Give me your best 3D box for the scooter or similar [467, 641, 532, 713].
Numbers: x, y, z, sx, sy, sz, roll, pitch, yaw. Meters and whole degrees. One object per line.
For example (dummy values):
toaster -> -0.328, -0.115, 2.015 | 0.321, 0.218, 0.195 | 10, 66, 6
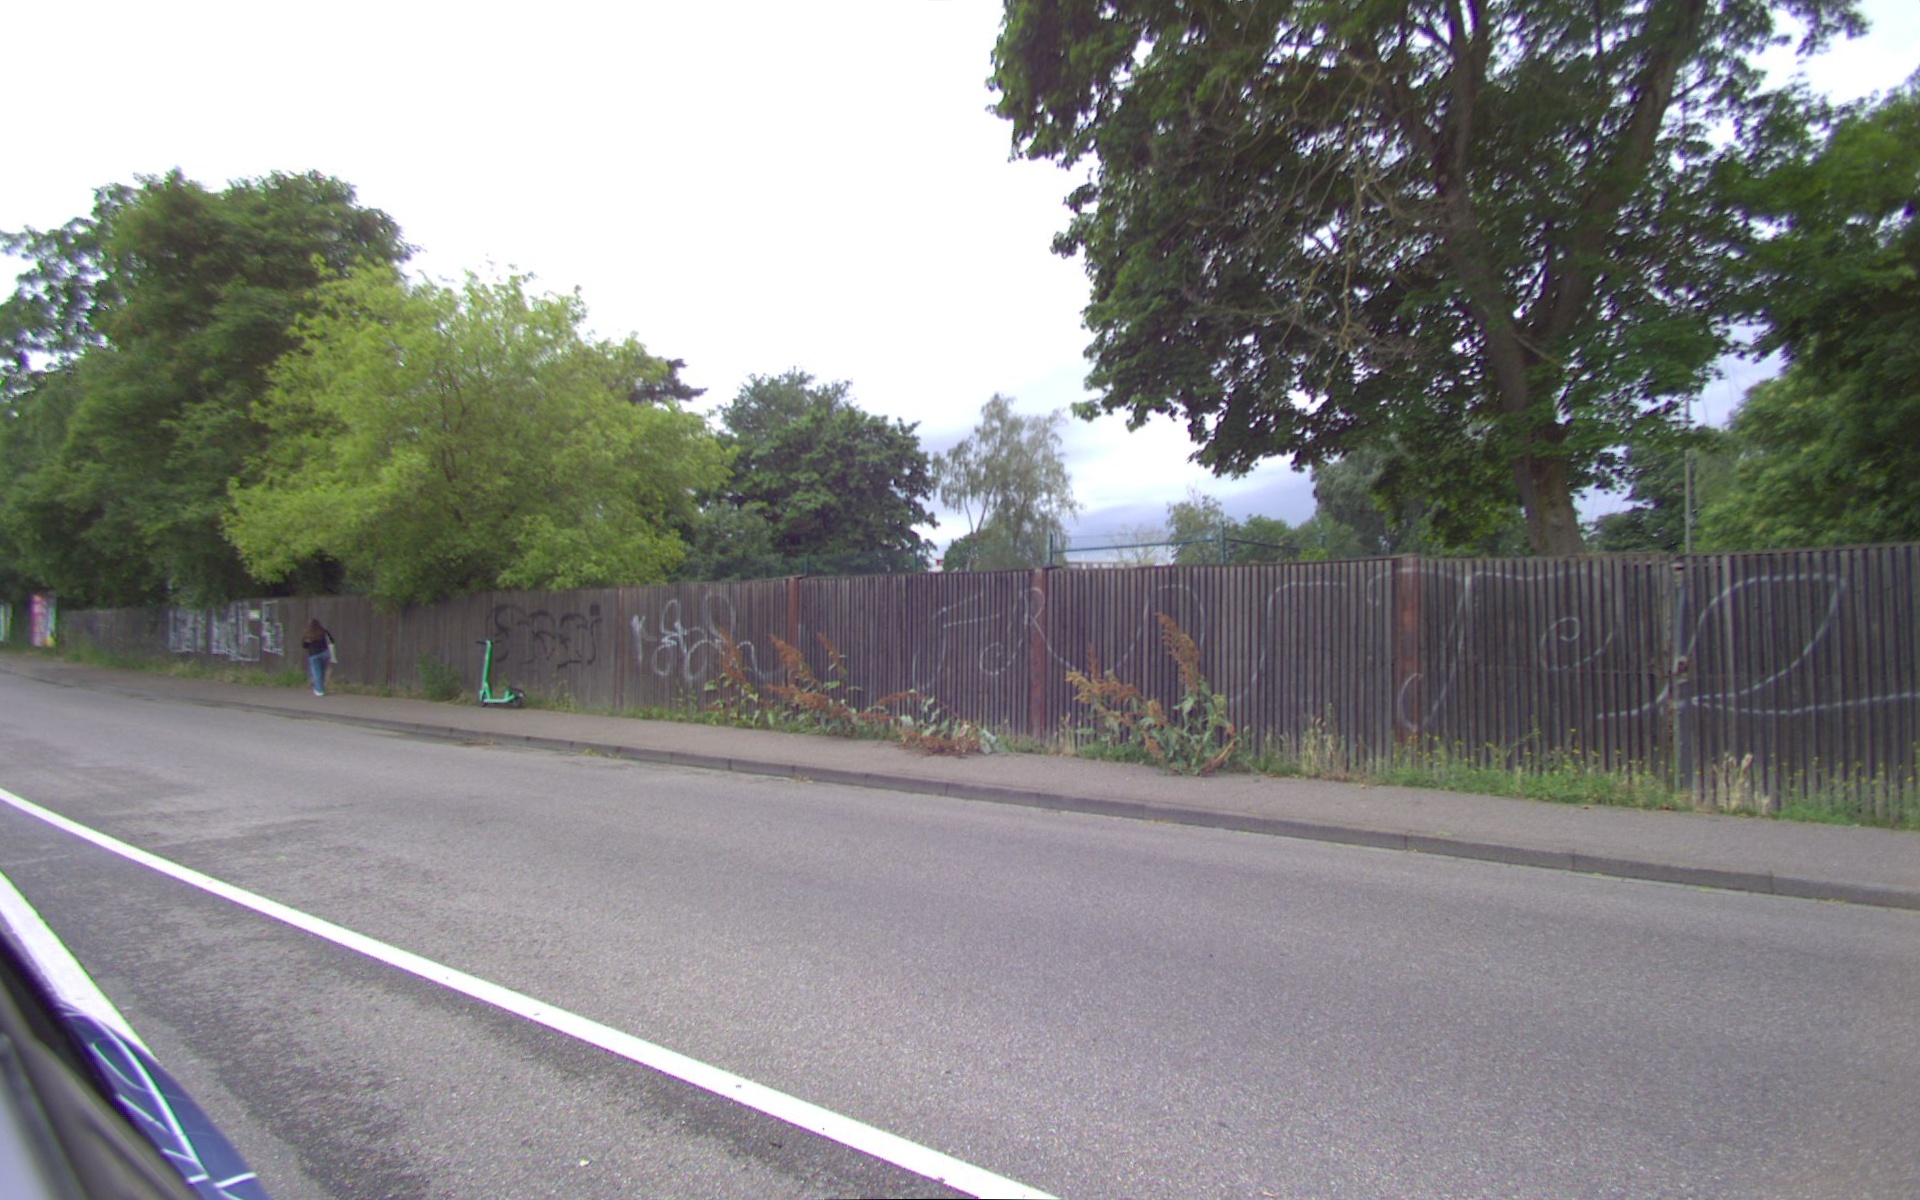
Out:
scooter or similar -> -7.818, 1.288, 17.176 | 1.301, 1.179, 0.419 | -1, -2, 36

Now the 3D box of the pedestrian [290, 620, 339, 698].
pedestrian -> -13.059, 1.187, 20.472 | 0.723, 1.541, 0.606 | -2, -2, 37
